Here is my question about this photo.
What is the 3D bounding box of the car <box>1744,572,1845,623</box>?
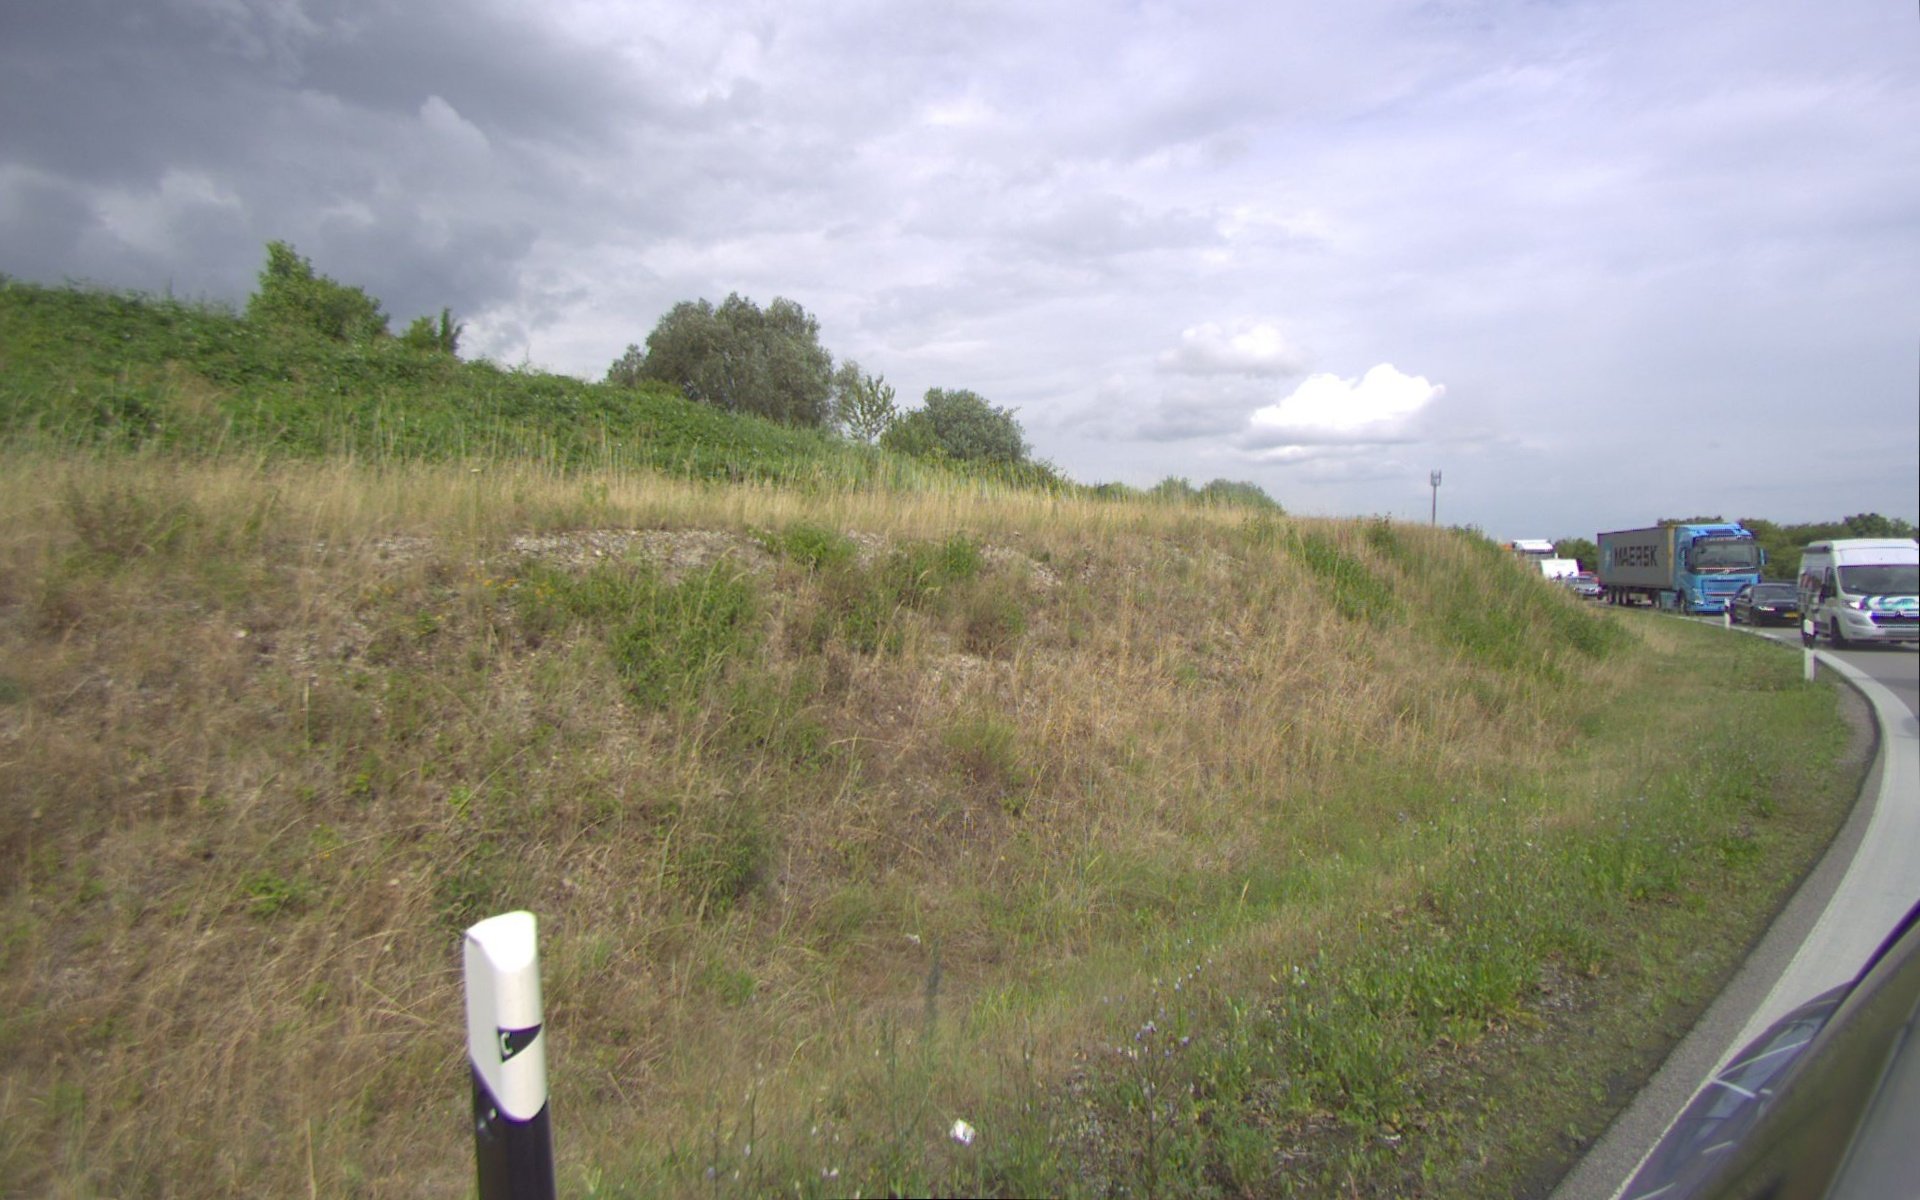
[{"bbox_3d":[28.822,-0.147,35.105,1.983,1.638,3.960,1,2,29],"label":"car"}]

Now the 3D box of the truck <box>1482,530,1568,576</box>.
[{"bbox_3d":[44.132,-3.582,79.491,3.080,3.279,11.113,0,2,14],"label":"truck"}]

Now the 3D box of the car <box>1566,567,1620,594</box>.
[{"bbox_3d":[39.099,-1.244,62.584,1.974,1.548,3.977,0,2,19],"label":"car"}]

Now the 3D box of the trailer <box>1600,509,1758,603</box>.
[{"bbox_3d":[36.068,-2.043,51.473,3.234,4.214,11.943,0,0,19],"label":"trailer"}]

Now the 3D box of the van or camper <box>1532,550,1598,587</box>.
[{"bbox_3d":[40.785,-2.171,68.411,2.519,2.237,5.684,-1,4,17],"label":"van or camper"}]

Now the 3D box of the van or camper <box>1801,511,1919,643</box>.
[{"bbox_3d":[22.999,-0.548,25.098,2.379,2.945,5.659,0,0,30],"label":"van or camper"}]

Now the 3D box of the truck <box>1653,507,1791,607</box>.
[{"bbox_3d":[33.712,-1.794,45.098,3.142,4.124,6.600,0,0,21],"label":"truck"}]

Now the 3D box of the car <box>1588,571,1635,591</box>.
[{"bbox_3d":[54.075,-1.600,84.102,1.972,1.622,4.785,0,2,17],"label":"car"}]
